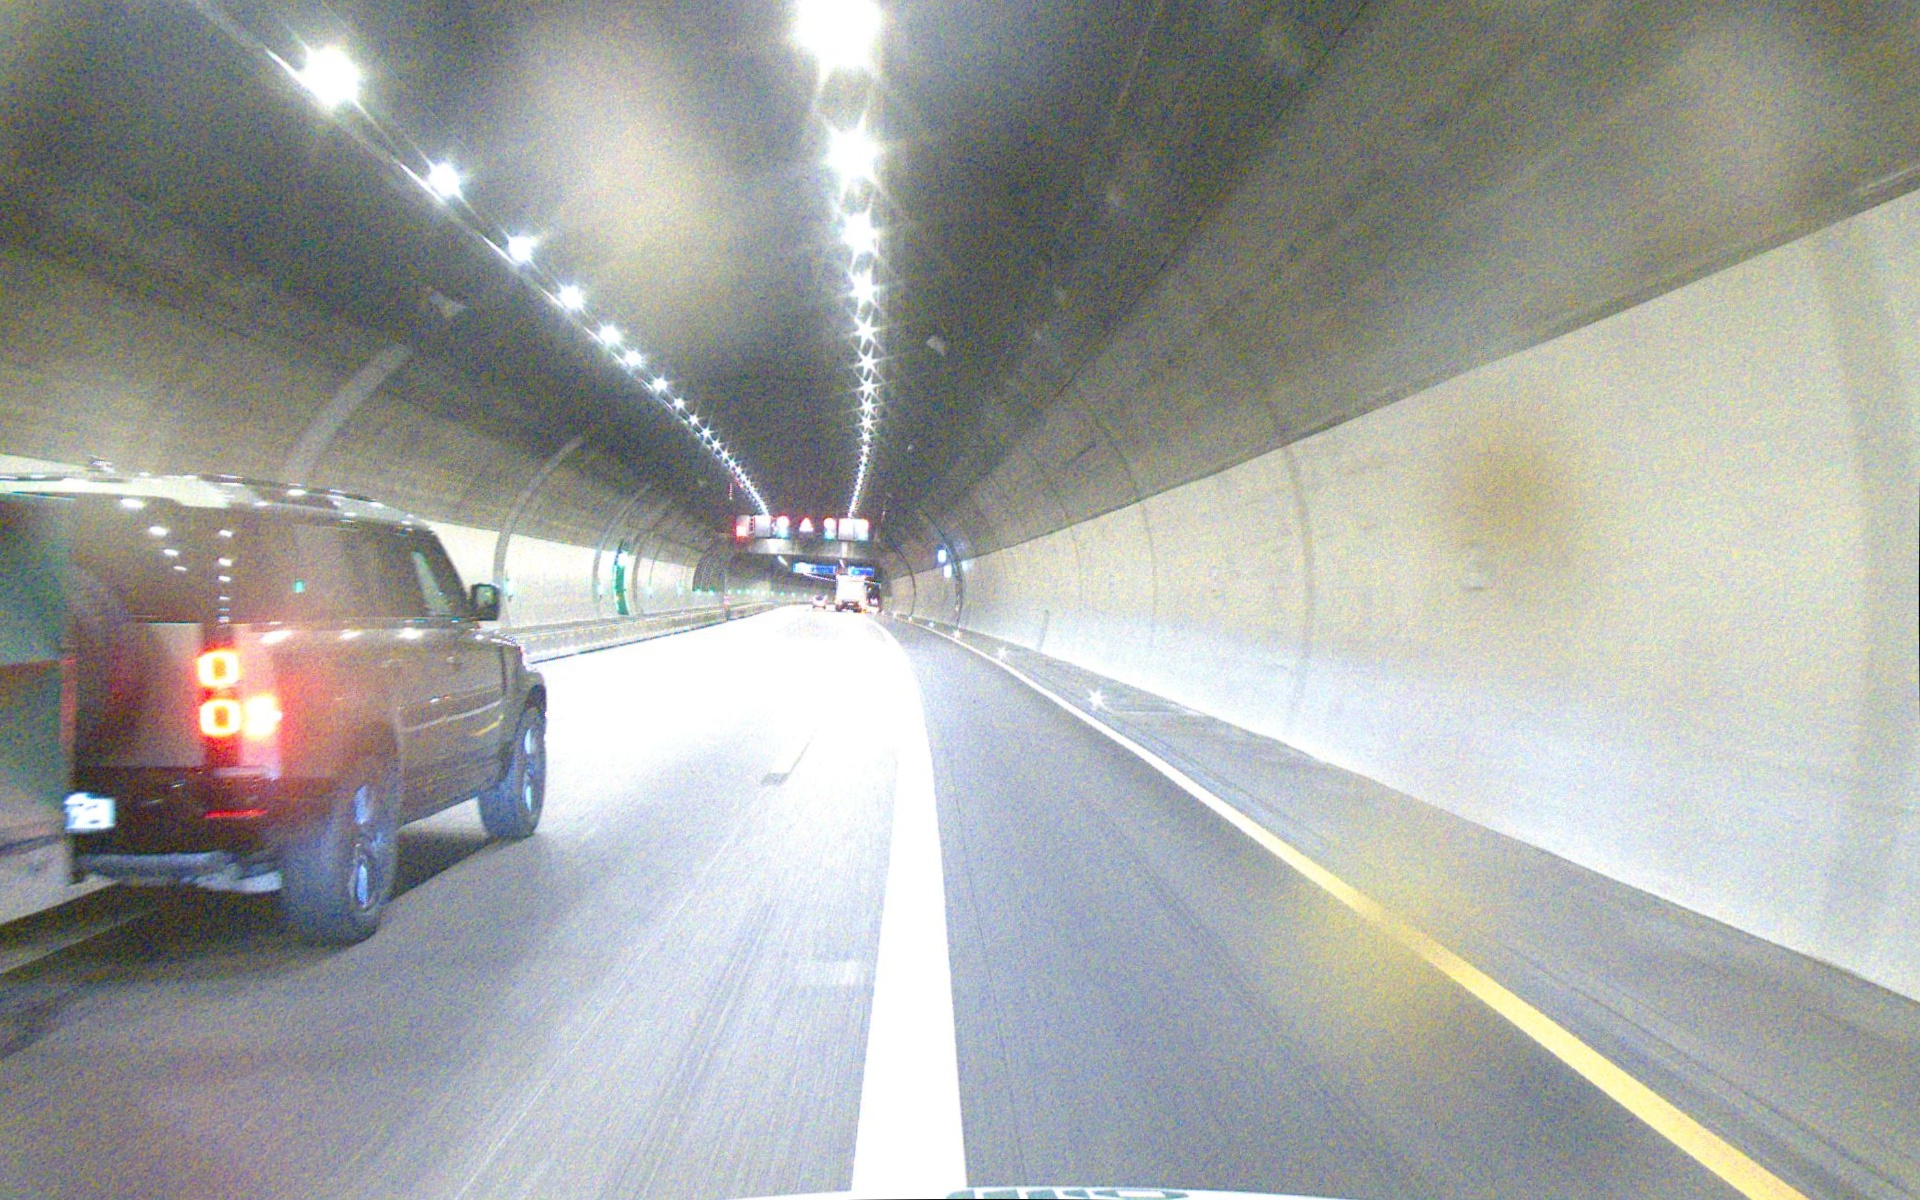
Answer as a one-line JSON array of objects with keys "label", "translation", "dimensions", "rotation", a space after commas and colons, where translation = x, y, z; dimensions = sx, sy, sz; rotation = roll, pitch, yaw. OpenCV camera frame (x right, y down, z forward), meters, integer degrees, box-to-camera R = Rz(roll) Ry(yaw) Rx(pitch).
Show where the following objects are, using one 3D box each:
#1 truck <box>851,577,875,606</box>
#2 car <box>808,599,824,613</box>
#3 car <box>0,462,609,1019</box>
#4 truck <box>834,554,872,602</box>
[{"label": "truck", "translation": [-15.299, -1.297, 259.587], "dimensions": [3.406, 4.391, 10.941], "rotation": [1, 0, -5]}, {"label": "car", "translation": [-18.167, 0.717, 209.040], "dimensions": [1.955, 1.609, 3.995], "rotation": [2, 0, -6]}, {"label": "car", "translation": [-3.371, 0.462, 8.537], "dimensions": [1.953, 1.928, 5.453], "rotation": [2, 0, -1]}, {"label": "truck", "translation": [-10.472, -2.108, 160.522], "dimensions": [3.406, 4.391, 10.941], "rotation": [2, 0, -5]}]
